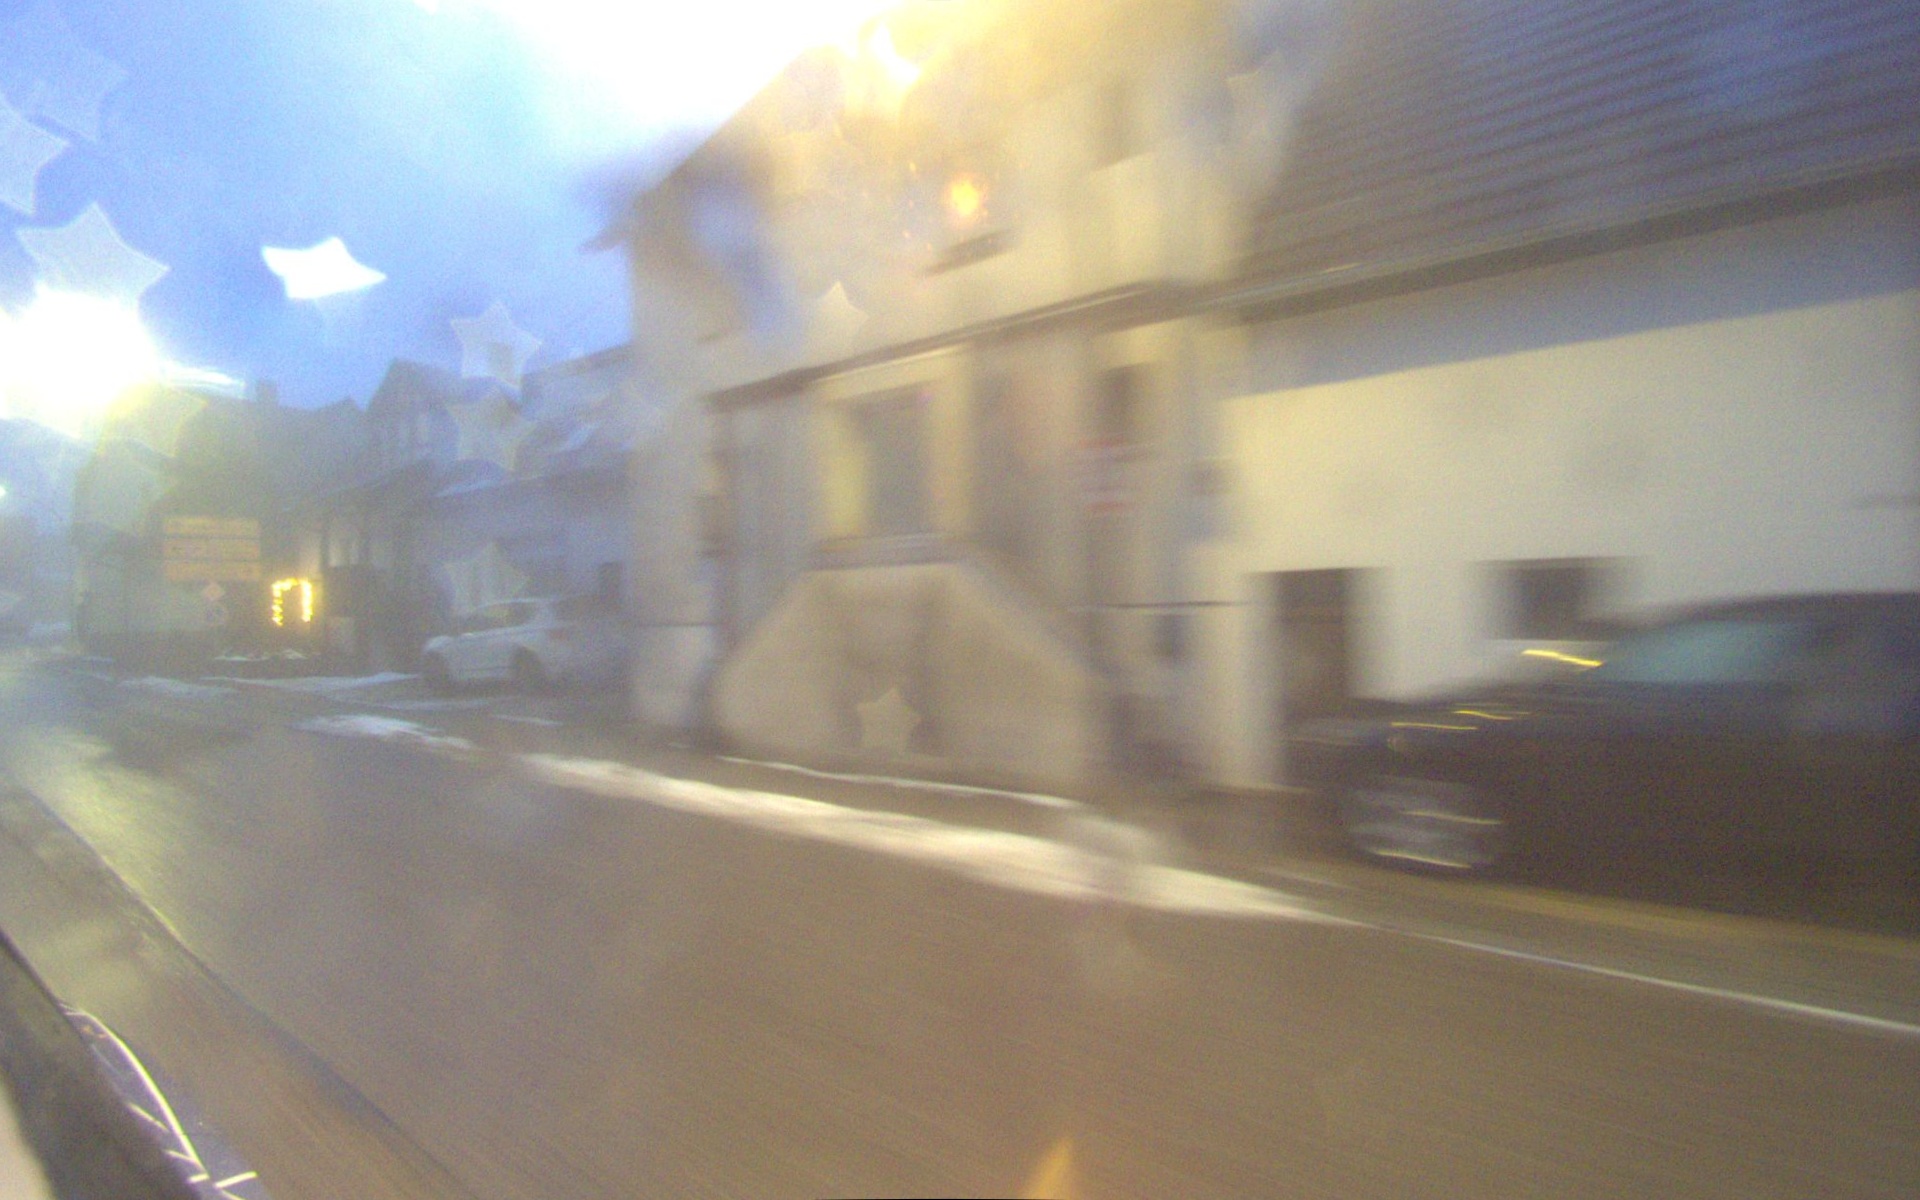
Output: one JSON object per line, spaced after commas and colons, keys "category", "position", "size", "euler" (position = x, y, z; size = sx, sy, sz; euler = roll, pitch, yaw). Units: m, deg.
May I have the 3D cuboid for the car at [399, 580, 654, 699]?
{"category": "car", "position": [-7.740, 0.737, 17.930], "size": [4.625, 1.749, 1.751], "euler": [-4, 2, 33]}

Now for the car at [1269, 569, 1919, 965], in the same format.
{"category": "car", "position": [3.979, 0.659, 5.071], "size": [4.185, 1.534, 1.974], "euler": [-3, 0, 39]}
